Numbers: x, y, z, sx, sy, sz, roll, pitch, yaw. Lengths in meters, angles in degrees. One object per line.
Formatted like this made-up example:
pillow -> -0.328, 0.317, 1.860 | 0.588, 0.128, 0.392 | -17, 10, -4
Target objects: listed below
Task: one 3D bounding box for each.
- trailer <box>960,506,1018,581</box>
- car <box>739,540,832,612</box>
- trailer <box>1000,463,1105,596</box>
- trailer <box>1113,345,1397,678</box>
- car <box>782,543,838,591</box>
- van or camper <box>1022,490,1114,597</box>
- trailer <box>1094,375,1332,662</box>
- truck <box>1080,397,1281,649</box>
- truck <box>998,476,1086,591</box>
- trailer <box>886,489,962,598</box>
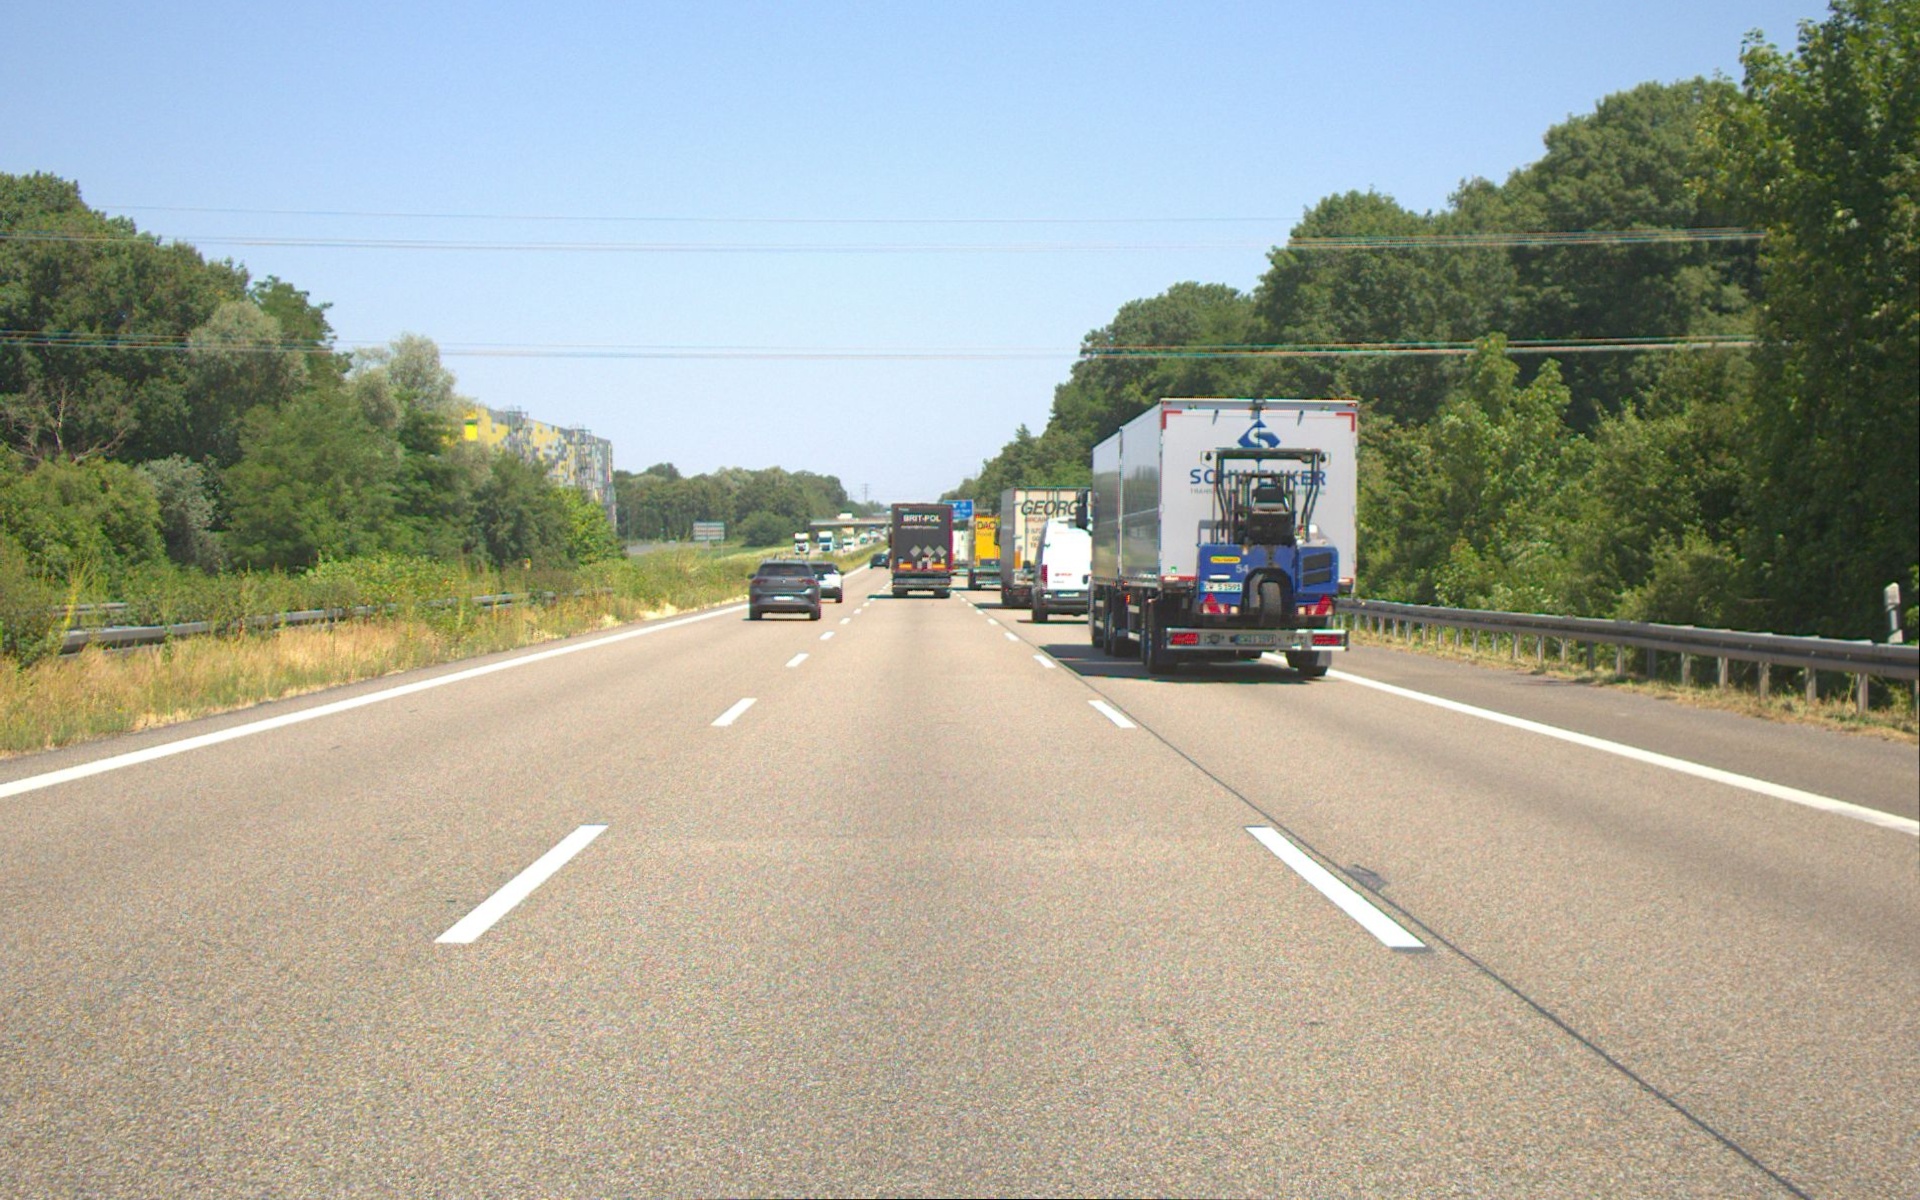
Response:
trailer -> 1.529, -3.071, 186.821 | 2.834, 3.940, 11.685 | 0, 1, -1
car -> -4.497, -0.646, 89.491 | 2.216, 1.784, 5.394 | -1, 1, -1
trailer -> 3.086, -2.383, 118.249 | 2.993, 4.274, 13.419 | 1, 1, -1
trailer -> 3.810, -1.137, 46.339 | 2.945, 4.049, 8.128 | 1, 1, -1
car -> -5.559, -1.244, 127.832 | 1.993, 1.722, 4.131 | 0, 1, -1
van or camper -> 2.726, -1.459, 88.429 | 2.022, 2.628, 6.487 | 1, 1, -1
trailer -> 3.736, -1.197, 52.490 | 2.920, 4.027, 7.317 | 1, 1, -1
truck -> 3.666, -1.279, 58.734 | 2.889, 4.016, 6.870 | 1, 1, 0
truck -> 2.985, -2.426, 126.118 | 3.002, 4.110, 5.253 | 0, 1, -1
trailer -> -1.662, -2.442, 150.452 | 3.106, 4.491, 14.897 | 1, 1, -1
